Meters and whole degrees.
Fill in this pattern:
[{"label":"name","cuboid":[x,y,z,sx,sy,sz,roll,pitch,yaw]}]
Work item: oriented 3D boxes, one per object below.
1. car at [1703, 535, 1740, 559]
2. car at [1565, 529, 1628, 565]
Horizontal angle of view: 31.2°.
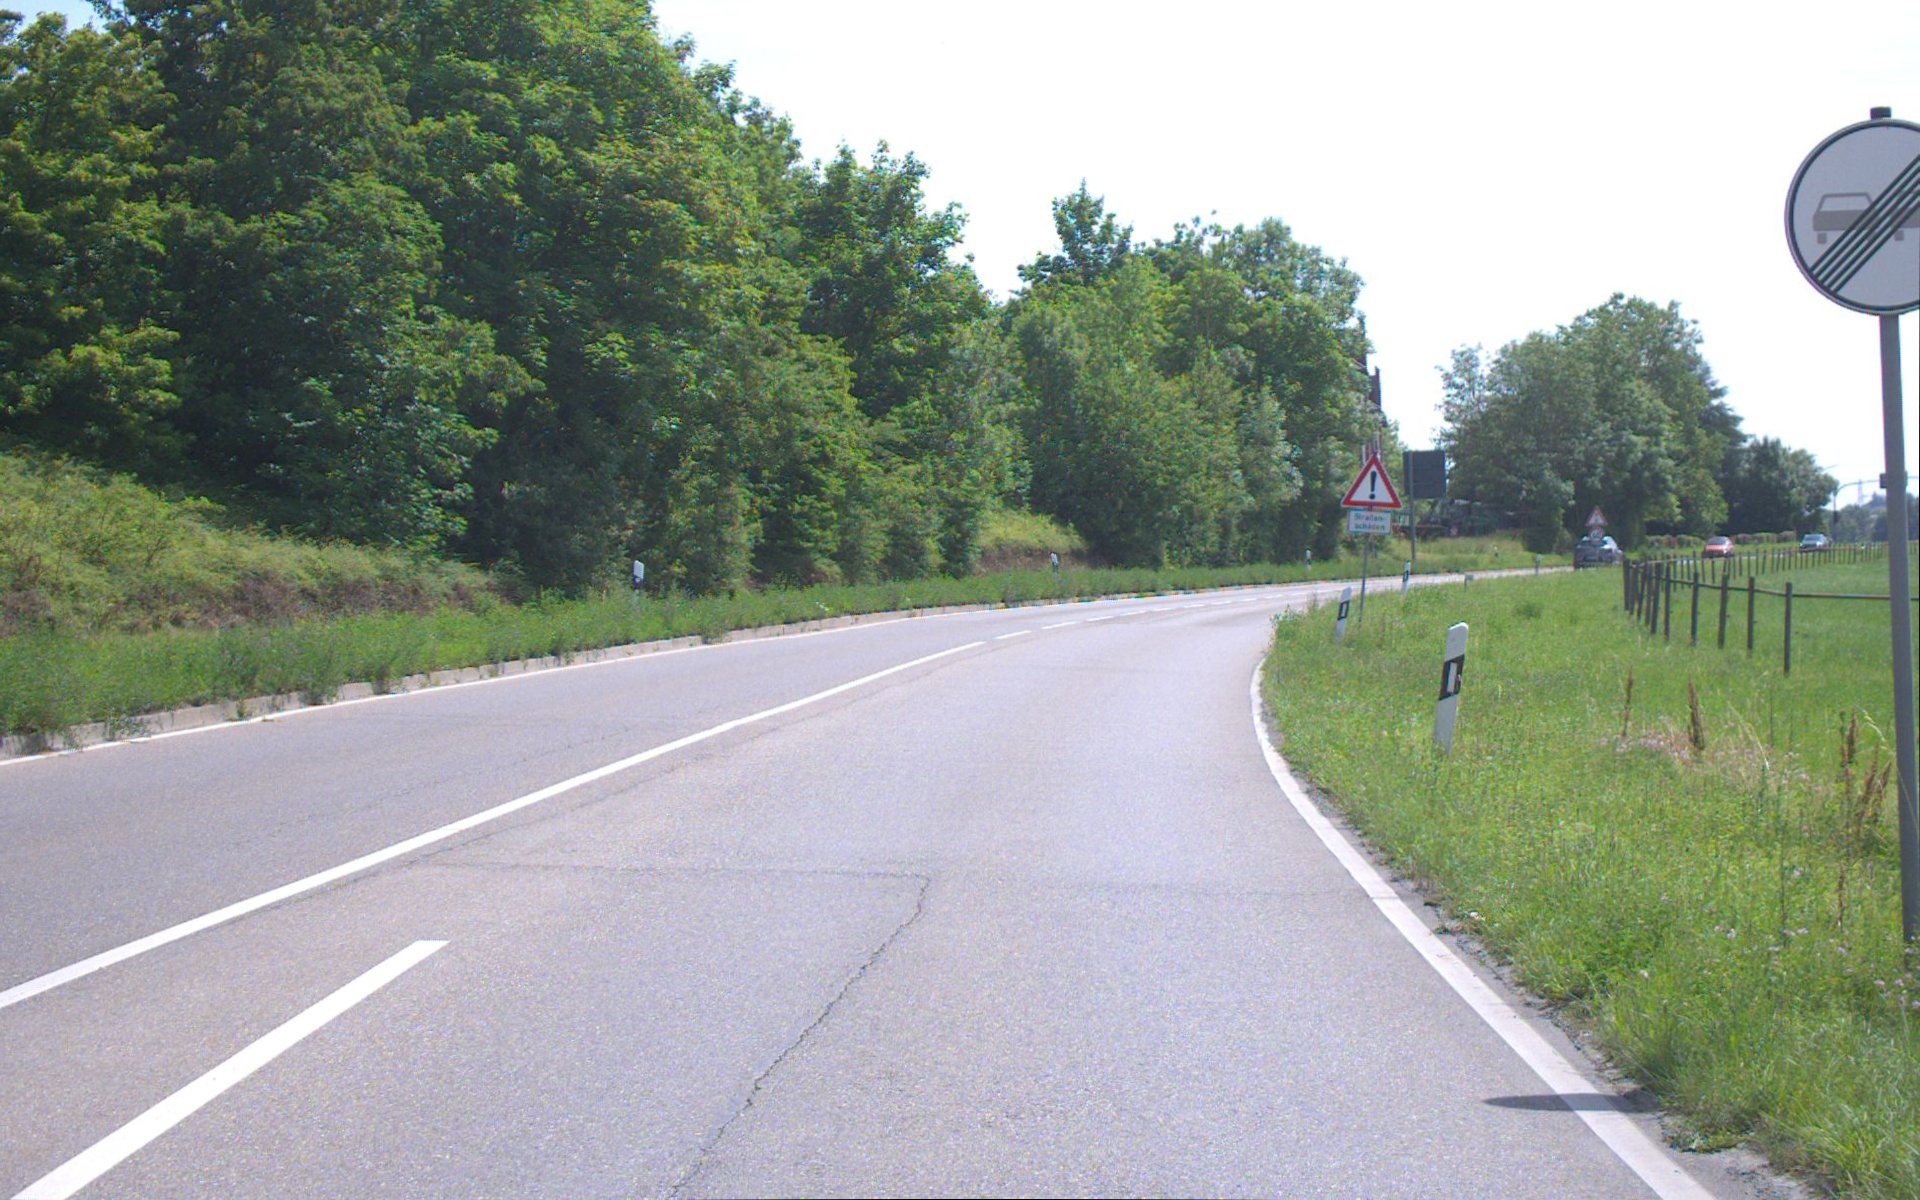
[{"label":"car","cuboid":[48.094,-3.343,217.073,1.823,1.464,3.996,2,1,20]},{"label":"car","cuboid":[28.511,-2.405,153.948,1.996,1.568,3.996,1,2,22]}]
